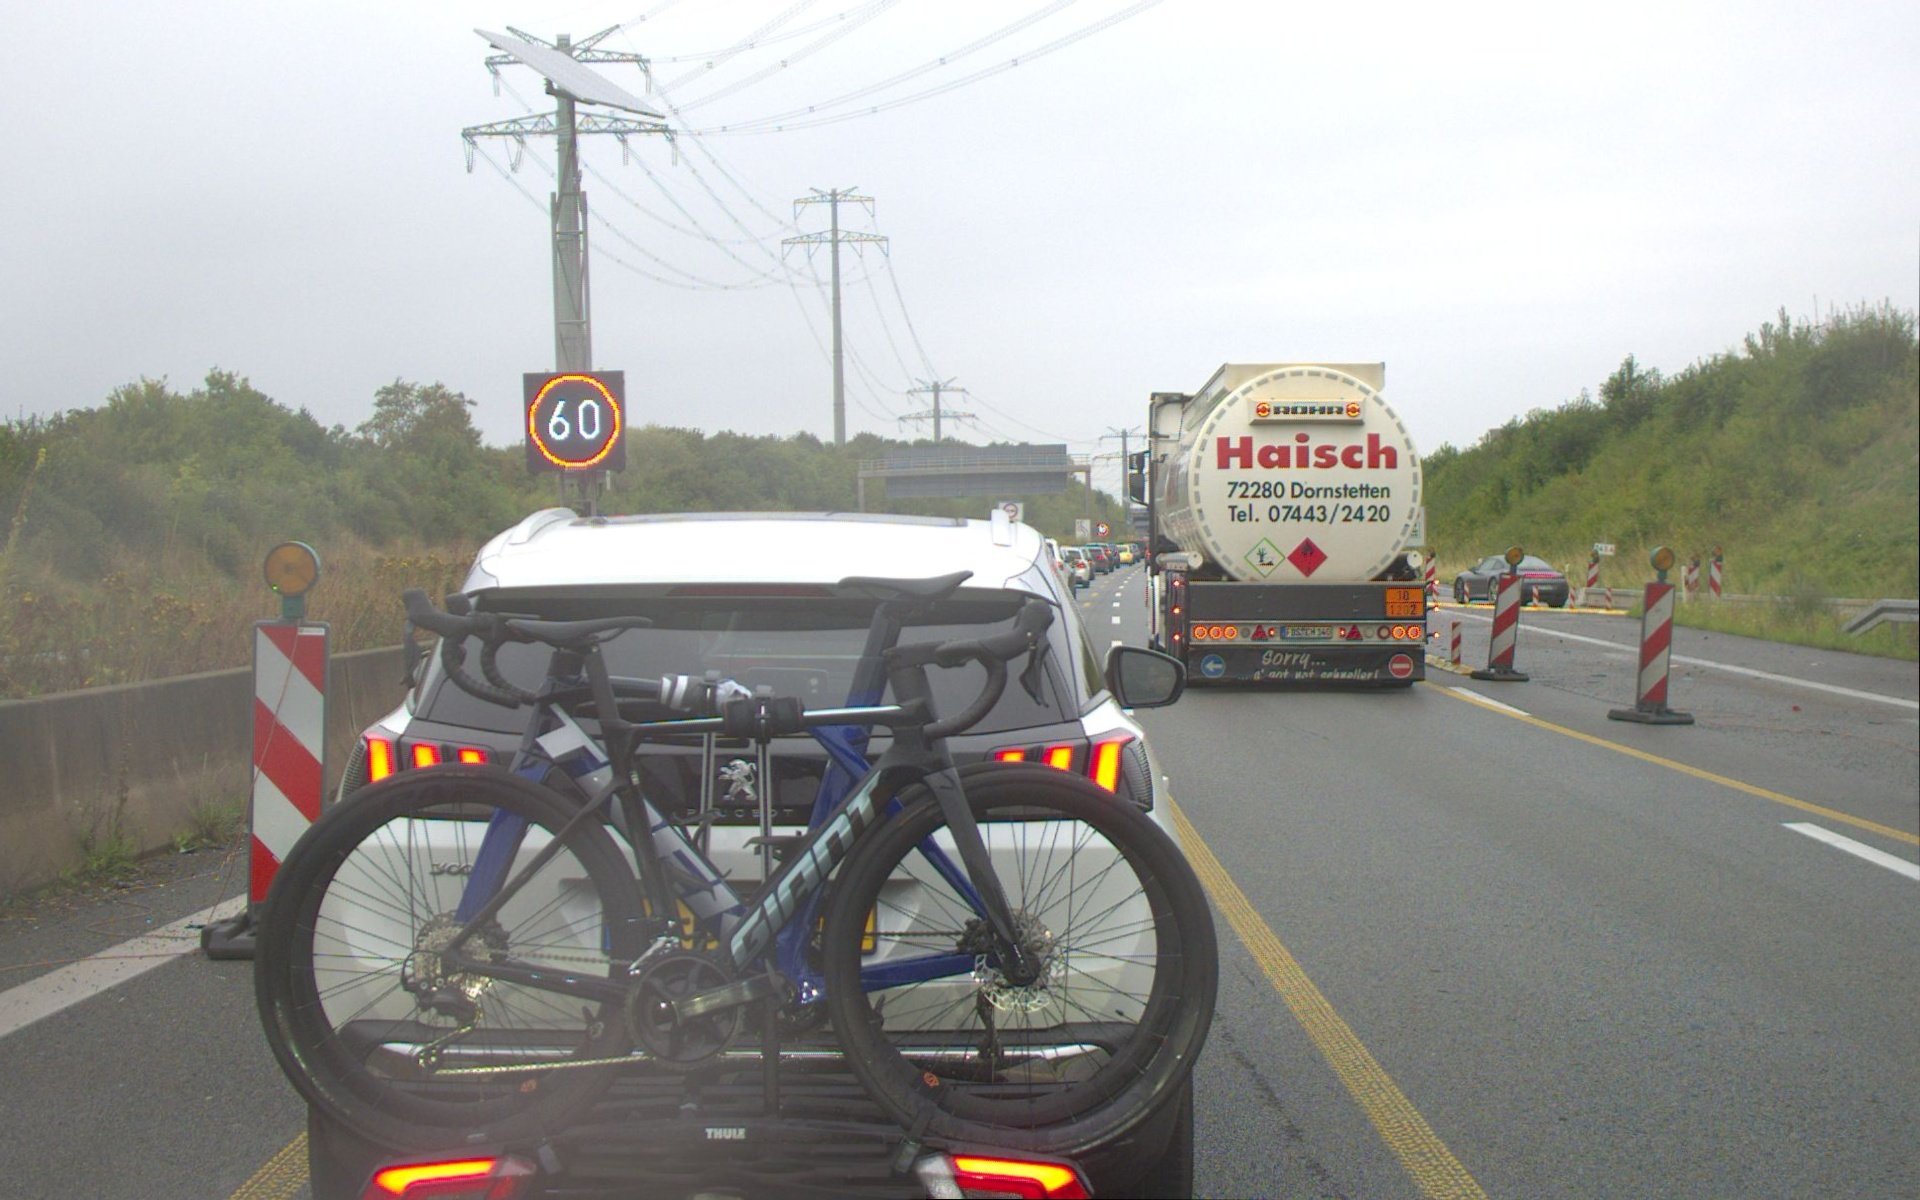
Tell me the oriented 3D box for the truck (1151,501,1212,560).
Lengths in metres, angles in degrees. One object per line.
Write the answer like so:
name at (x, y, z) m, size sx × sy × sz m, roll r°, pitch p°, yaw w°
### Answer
truck at (15.204, -4.724, 236.630) m, size 3.732 × 3.809 × 11.867 m, roll 0°, pitch 0°, yaw 1°

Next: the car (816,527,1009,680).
car at (-0.516, -0.005, 37.501) m, size 1.993 × 1.578 × 4.000 m, roll 0°, pitch 1°, yaw -1°

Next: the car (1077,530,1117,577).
car at (5.962, -2.028, 149.281) m, size 1.654 × 2.007 × 4.000 m, roll 0°, pitch 1°, yaw 3°

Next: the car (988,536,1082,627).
car at (1.689, -0.427, 78.787) m, size 1.993 × 2.007 × 4.000 m, roll 1°, pitch 0°, yaw -1°

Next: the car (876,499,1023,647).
car at (-0.159, -0.410, 49.864) m, size 1.993 × 2.007 × 4.000 m, roll -2°, pitch 1°, yaw 0°

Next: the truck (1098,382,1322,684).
truck at (3.316, -0.879, 46.539) m, size 2.644 × 3.877 × 4.030 m, roll 1°, pitch 0°, yaw -1°

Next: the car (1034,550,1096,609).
car at (3.678, -0.728, 121.244) m, size 1.993 × 2.007 × 4.000 m, roll 1°, pitch 0°, yaw -1°

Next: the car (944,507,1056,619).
car at (0.726, -0.722, 65.153) m, size 1.993 × 2.007 × 4.000 m, roll -1°, pitch 1°, yaw -1°

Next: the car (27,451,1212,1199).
car at (-0.491, 0.524, 7.881) m, size 1.928 × 1.605 × 4.595 m, roll 0°, pitch 1°, yaw 2°

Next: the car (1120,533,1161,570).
car at (10.138, -2.727, 193.277) m, size 1.993 × 2.007 × 4.000 m, roll 1°, pitch 0°, yaw -1°

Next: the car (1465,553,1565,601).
car at (14.110, -0.584, 87.569) m, size 1.482 × 1.157 × 3.908 m, roll -2°, pitch 1°, yaw -6°

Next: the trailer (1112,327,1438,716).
trailer at (3.401, -0.826, 39.851) m, size 2.637 × 3.880 × 10.544 m, roll 1°, pitch 0°, yaw -1°
